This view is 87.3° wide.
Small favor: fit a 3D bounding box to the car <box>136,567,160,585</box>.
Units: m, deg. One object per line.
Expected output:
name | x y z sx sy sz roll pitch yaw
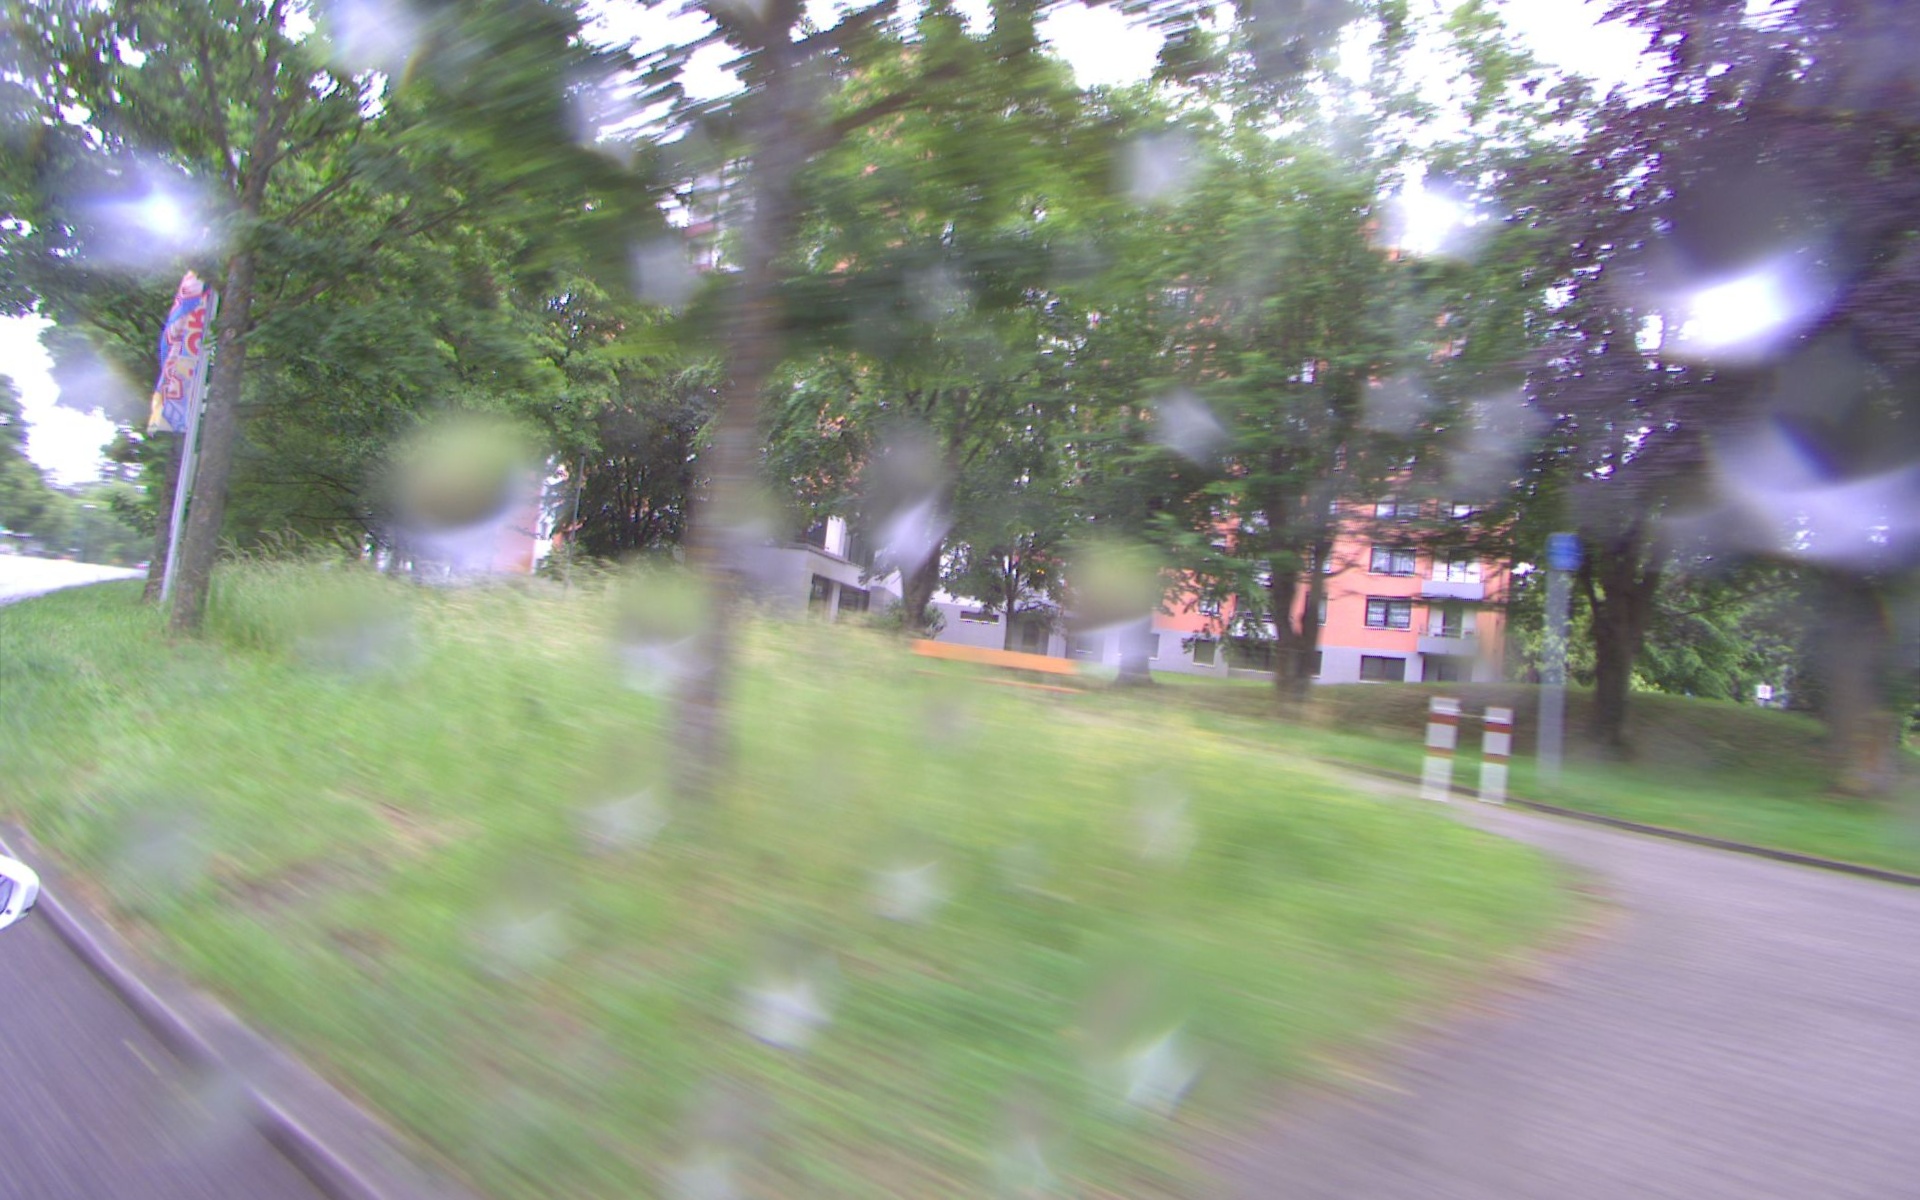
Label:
car | -90.091 -2.680 111.639 1.854 1.683 3.962 9 -5 -38
